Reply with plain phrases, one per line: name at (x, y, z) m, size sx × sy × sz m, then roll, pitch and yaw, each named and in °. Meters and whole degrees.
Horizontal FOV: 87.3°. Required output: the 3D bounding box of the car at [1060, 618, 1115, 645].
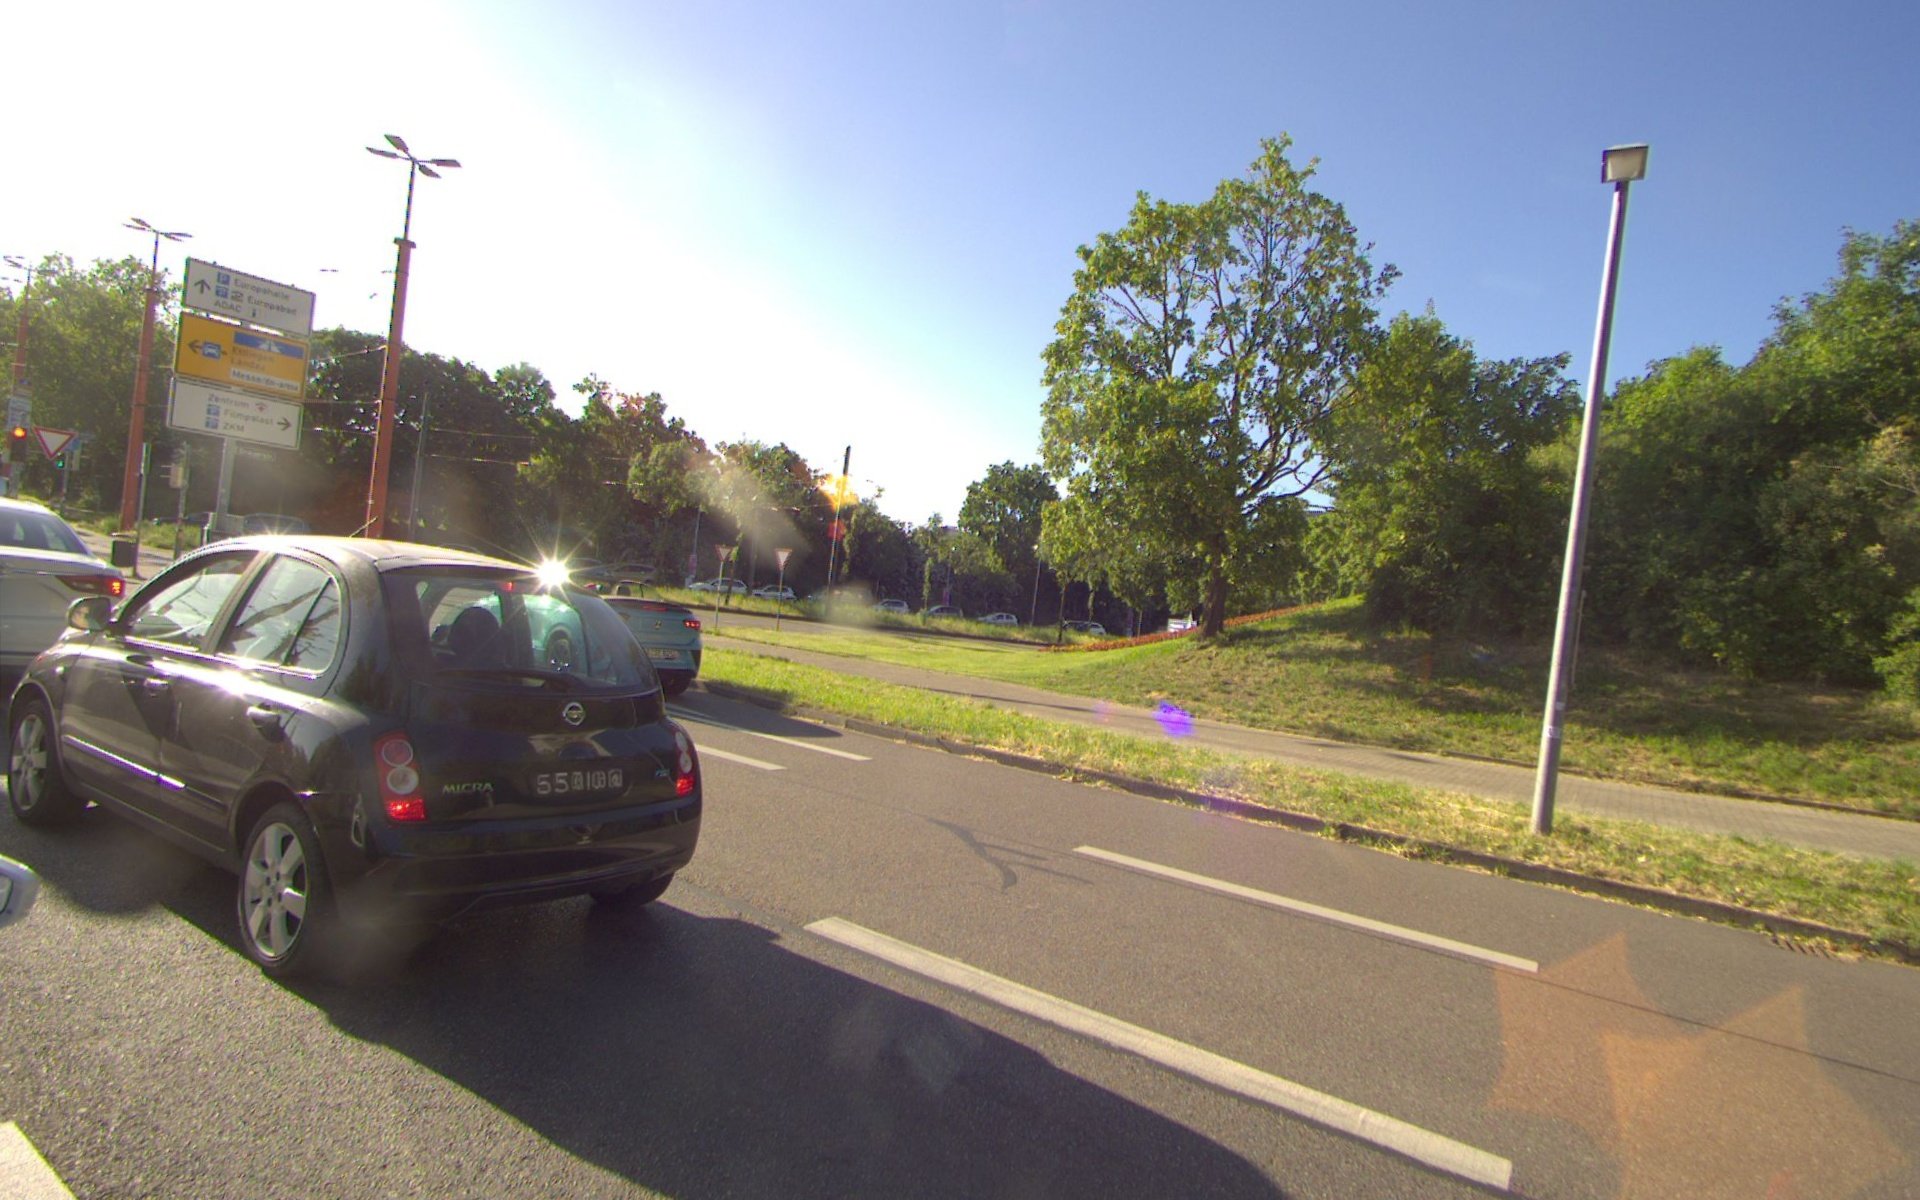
car at (10.582, 2.611, 83.592) m, size 4.195 × 1.701 × 1.690 m, roll 8°, pitch -1°, yaw -29°

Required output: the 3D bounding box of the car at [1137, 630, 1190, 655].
car at (16.705, 3.512, 82.385) m, size 3.959 × 1.466 × 1.801 m, roll 9°, pitch -2°, yaw -30°

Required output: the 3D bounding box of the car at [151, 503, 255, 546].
car at (-39.967, -3.956, 53.206) m, size 4.095 × 1.528 × 1.808 m, roll 9°, pitch -2°, yaw -32°

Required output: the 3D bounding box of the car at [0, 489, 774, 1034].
car at (-2.839, 0.465, 4.697) m, size 3.555 × 1.518 × 1.657 m, roll 7°, pitch -2°, yaw 32°

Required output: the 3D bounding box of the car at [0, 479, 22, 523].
car at (-45.643, -4.825, 45.849) m, size 3.812 × 1.911 × 1.747 m, roll 9°, pitch -2°, yaw -36°

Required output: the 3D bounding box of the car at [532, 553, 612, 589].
car at (-23.077, -1.719, 59.927) m, size 4.089 × 1.617 × 1.814 m, roll 8°, pitch -1°, yaw -31°

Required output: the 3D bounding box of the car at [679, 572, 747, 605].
car at (-15.797, -0.738, 64.352) m, size 3.790 × 1.541 × 1.682 m, roll 8°, pitch -1°, yaw -30°

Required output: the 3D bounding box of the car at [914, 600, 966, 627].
car at (-1.470, 0.957, 72.798) m, size 3.369 × 1.475 × 1.453 m, roll 8°, pitch -1°, yaw -31°

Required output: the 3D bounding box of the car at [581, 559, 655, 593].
car at (-22.083, -1.538, 64.973) m, size 4.088 × 1.663 × 1.839 m, roll 8°, pitch -1°, yaw -30°

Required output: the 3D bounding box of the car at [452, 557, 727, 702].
car at (-5.225, 0.359, 13.933) m, size 4.074 × 1.468 × 1.731 m, roll 7°, pitch 0°, yaw 41°

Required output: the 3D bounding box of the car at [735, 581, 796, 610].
car at (-13.395, -0.331, 69.210) m, size 3.710 × 1.491 × 1.587 m, roll 8°, pitch -1°, yaw -32°

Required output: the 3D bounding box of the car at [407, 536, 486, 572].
car at (-30.066, -2.650, 58.917) m, size 3.937 × 1.457 × 1.674 m, roll 9°, pitch -2°, yaw -31°

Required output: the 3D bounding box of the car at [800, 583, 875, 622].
car at (-8.364, 0.184, 68.921) m, size 4.531 × 2.038 × 1.987 m, roll 8°, pitch 0°, yaw -27°

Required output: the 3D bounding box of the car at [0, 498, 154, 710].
car at (-8.357, -0.173, 8.019) m, size 4.130 × 1.454 × 1.723 m, roll 7°, pitch -1°, yaw 33°

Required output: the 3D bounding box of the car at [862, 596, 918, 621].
car at (-5.182, 0.659, 74.580) m, size 3.804 × 1.278 × 1.590 m, roll 9°, pitch -3°, yaw -32°

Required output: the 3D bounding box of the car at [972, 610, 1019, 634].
car at (2.788, 1.740, 79.018) m, size 3.413 × 1.384 × 1.280 m, roll 9°, pitch -2°, yaw -31°

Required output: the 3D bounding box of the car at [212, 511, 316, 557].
car at (-35.893, -3.362, 51.995) m, size 4.152 × 1.663 × 1.745 m, roll 9°, pitch -2°, yaw -32°
